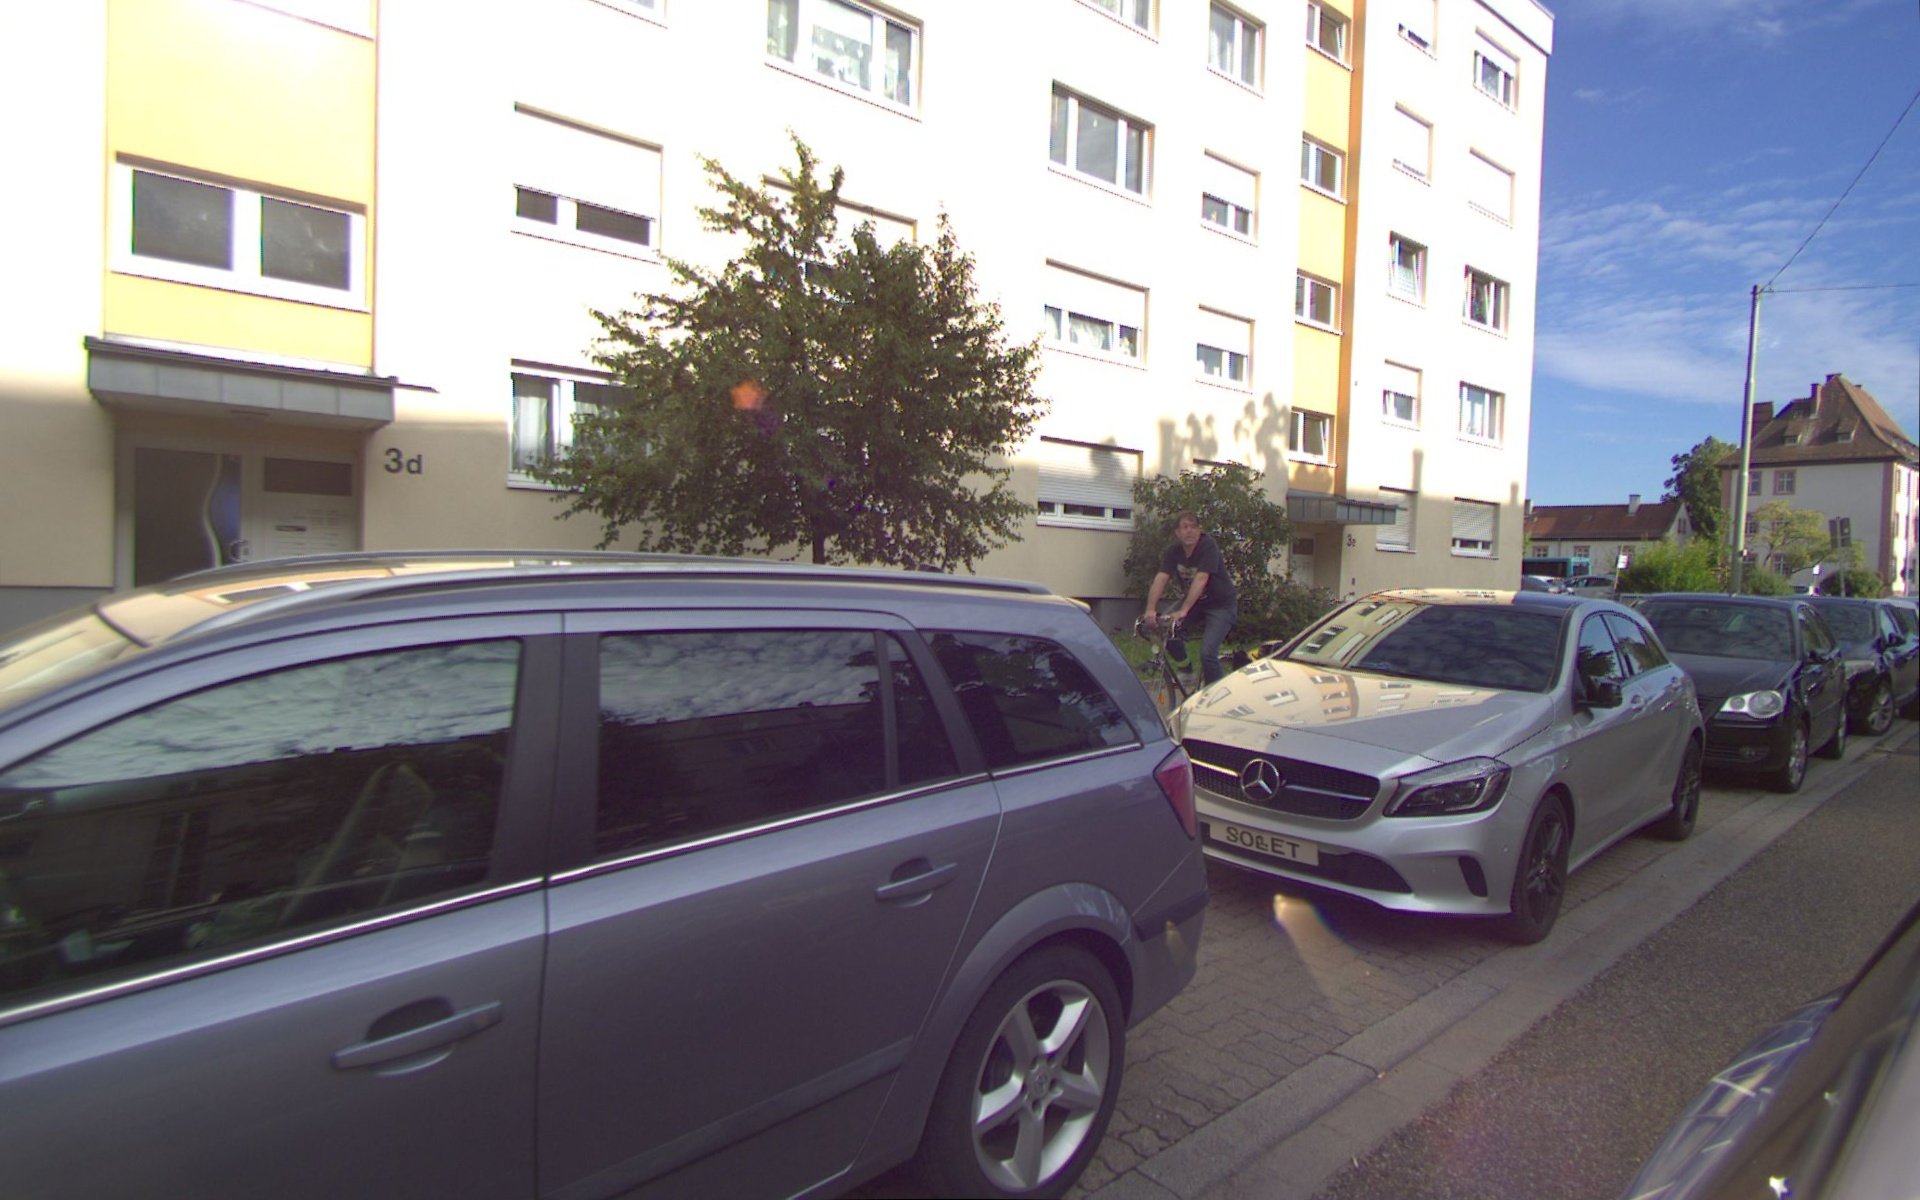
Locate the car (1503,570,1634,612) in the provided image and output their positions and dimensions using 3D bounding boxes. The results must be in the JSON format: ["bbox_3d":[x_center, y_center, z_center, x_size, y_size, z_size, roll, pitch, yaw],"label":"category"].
[{"bbox_3d":[24.276,-0.398,40.522,1.833,1.500,4.095,1,2,-31],"label":"car"}]

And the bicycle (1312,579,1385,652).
[{"bbox_3d":[6.628,0.238,17.253,1.564,1.150,0.446,-2,5,-42],"label":"bicycle"}]

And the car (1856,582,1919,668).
[{"bbox_3d":[19.514,0.500,20.162,4.252,1.542,1.768,0,4,-39],"label":"car"}]

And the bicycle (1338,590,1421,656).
[{"bbox_3d":[6.988,0.357,16.833,1.663,1.010,0.597,-2,3,-42],"label":"bicycle"}]

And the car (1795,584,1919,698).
[{"bbox_3d":[14.234,0.563,15.548,4.137,1.485,1.685,0,3,-44],"label":"car"}]

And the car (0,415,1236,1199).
[{"bbox_3d":[-1.373,0.517,1.932,4.221,1.504,1.686,0,2,-43],"label":"car"}]

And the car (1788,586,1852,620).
[{"bbox_3d":[46.671,0.162,54.909,4.016,1.741,1.889,0,1,-39],"label":"car"}]

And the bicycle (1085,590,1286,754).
[{"bbox_3d":[1.831,0.511,8.030,1.896,1.149,0.524,0,2,-42],"label":"bicycle"}]

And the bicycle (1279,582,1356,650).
[{"bbox_3d":[6.250,0.260,17.667,1.564,1.087,0.522,-2,5,-42],"label":"bicycle"}]

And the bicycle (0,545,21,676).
[{"bbox_3d":[-8.719,0.074,7.835,2.097,1.042,0.503,0,5,-41],"label":"bicycle"}]

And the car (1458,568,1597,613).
[{"bbox_3d":[21.012,-0.392,37.627,1.833,1.500,4.095,1,2,-31],"label":"car"}]

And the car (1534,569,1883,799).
[{"bbox_3d":[6.668,0.565,8.868,3.807,1.519,1.687,0,3,-42],"label":"car"}]

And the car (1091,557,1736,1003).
[{"bbox_3d":[2.710,0.600,5.504,4.109,1.481,1.702,0,3,-43],"label":"car"}]

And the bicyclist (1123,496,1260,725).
[{"bbox_3d":[1.842,0.065,8.031,0.877,1.698,0.624,1,2,-42],"label":"bicyclist"}]

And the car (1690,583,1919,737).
[{"bbox_3d":[10.399,0.603,12.091,4.131,1.453,1.688,1,3,-40],"label":"car"}]

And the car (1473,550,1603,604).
[{"bbox_3d":[25.173,-1.025,44.223,2.320,2.219,4.285,1,2,-33],"label":"car"}]

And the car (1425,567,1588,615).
[{"bbox_3d":[19.099,-0.362,35.549,1.835,1.500,4.682,1,2,-35],"label":"car"}]
